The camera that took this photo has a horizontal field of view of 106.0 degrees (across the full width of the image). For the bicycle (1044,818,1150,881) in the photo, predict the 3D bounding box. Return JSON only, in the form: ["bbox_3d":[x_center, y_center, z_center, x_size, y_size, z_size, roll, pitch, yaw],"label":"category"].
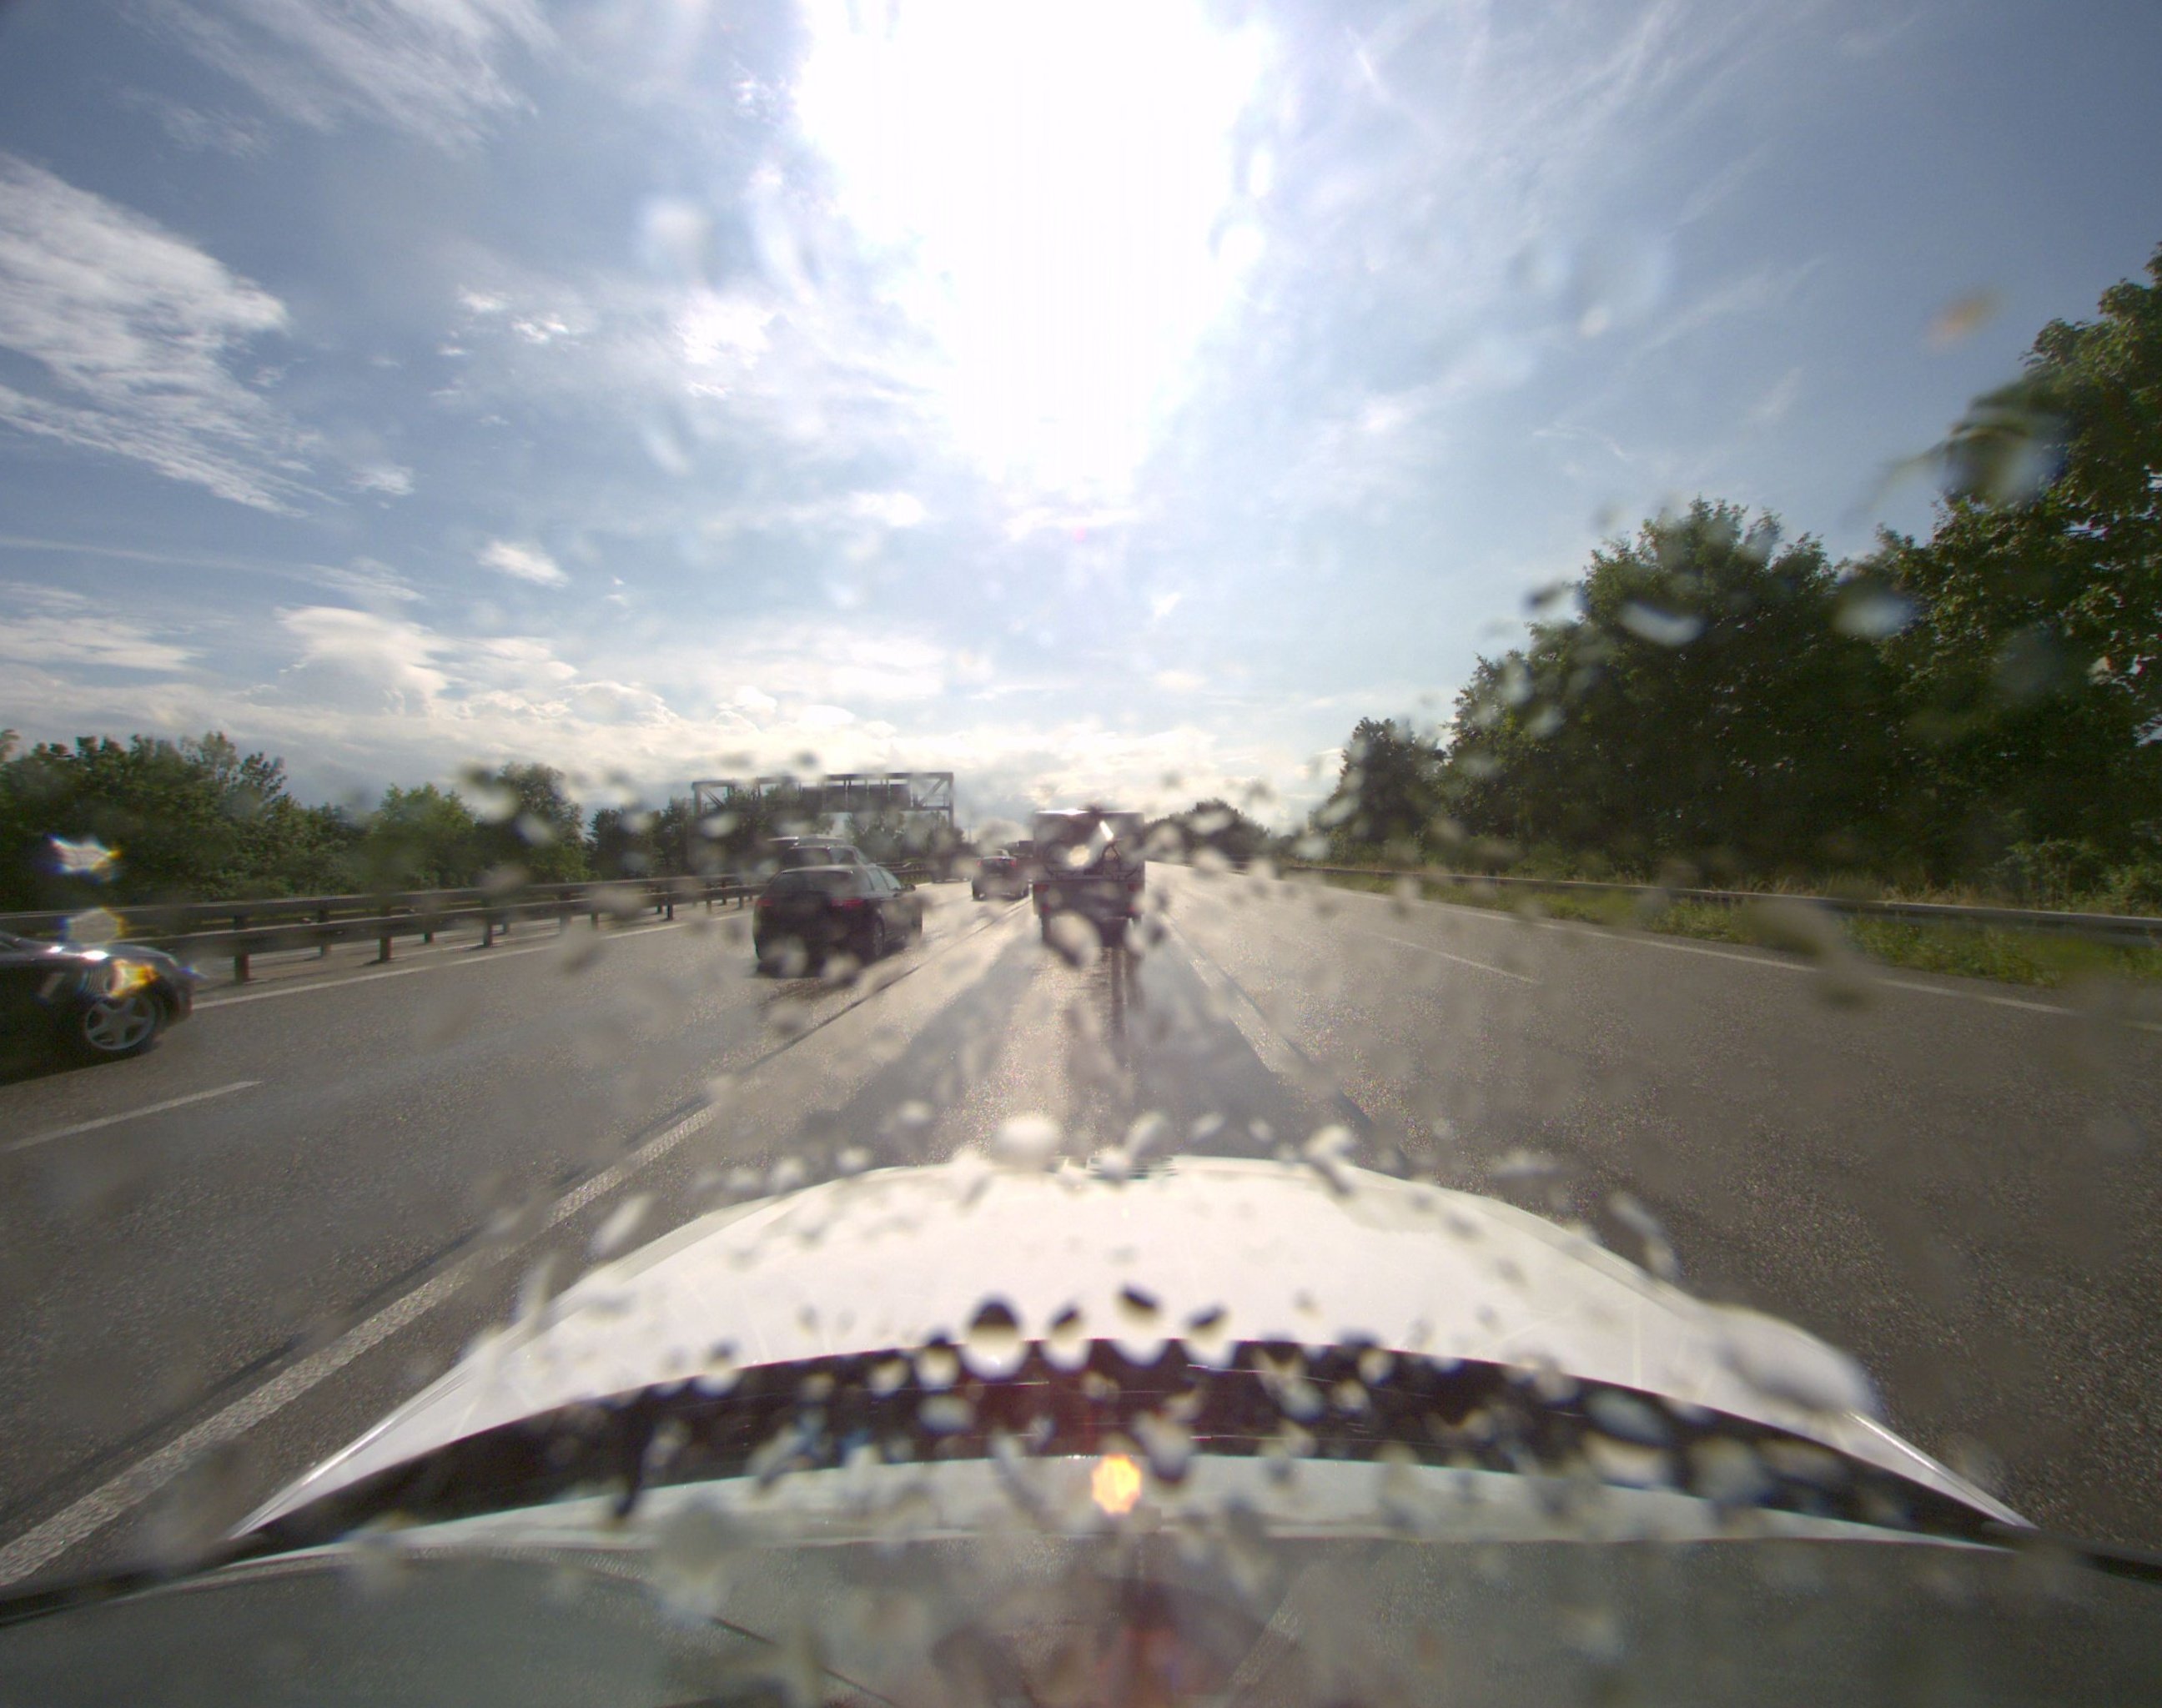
[{"bbox_3d":[0.302,-0.078,15.161,1.925,1.141,0.384,-1,-1,3],"label":"bicycle"}]

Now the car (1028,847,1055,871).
[{"bbox_3d":[-2.897,0.353,59.983,1.682,1.662,3.642,-1,0,2],"label":"car"}]

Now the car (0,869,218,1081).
[{"bbox_3d":[-8.371,0.852,4.738,1.912,1.425,4.375,-1,0,3],"label":"car"}]

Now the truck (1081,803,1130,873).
[{"bbox_3d":[1.743,-1.054,59.159,3.135,4.626,10.738,-1,0,1],"label":"truck"}]

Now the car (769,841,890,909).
[{"bbox_3d":[-7.628,0.573,25.308,1.799,1.844,5.422,-1,0,3],"label":"car"}]

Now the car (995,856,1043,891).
[{"bbox_3d":[-2.880,0.892,38.603,1.856,1.508,4.001,-1,0,1],"label":"car"}]

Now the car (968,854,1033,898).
[{"bbox_3d":[-2.823,0.749,29.428,1.751,1.443,4.003,-1,0,3],"label":"car"}]

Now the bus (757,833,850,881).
[{"bbox_3d":[-21.005,0.201,62.696,2.930,3.286,12.209,-1,0,0],"label":"bus"}]

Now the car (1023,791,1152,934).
[{"bbox_3d":[0.218,0.176,17.369,2.401,2.674,4.003,-1,0,3],"label":"car"}]

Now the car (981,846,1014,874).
[{"bbox_3d":[-6.238,0.428,61.244,1.841,1.934,5.018,-1,0,1],"label":"car"}]

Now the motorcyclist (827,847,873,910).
[{"bbox_3d":[-5.822,0.600,20.586,0.793,1.537,1.093,-1,0,2],"label":"motorcyclist"}]

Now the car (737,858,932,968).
[{"bbox_3d":[-3.701,0.808,13.033,1.743,1.433,4.056,-1,0,2],"label":"car"}]

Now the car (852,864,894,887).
[{"bbox_3d":[-14.300,1.482,56.159,1.769,1.442,4.001,-1,0,1],"label":"car"}]

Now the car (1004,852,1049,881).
[{"bbox_3d":[-2.936,0.646,44.581,1.979,1.458,3.829,-1,0,3],"label":"car"}]

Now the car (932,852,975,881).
[{"bbox_3d":[-7.299,0.685,46.817,1.777,1.578,3.916,-1,0,1],"label":"car"}]
